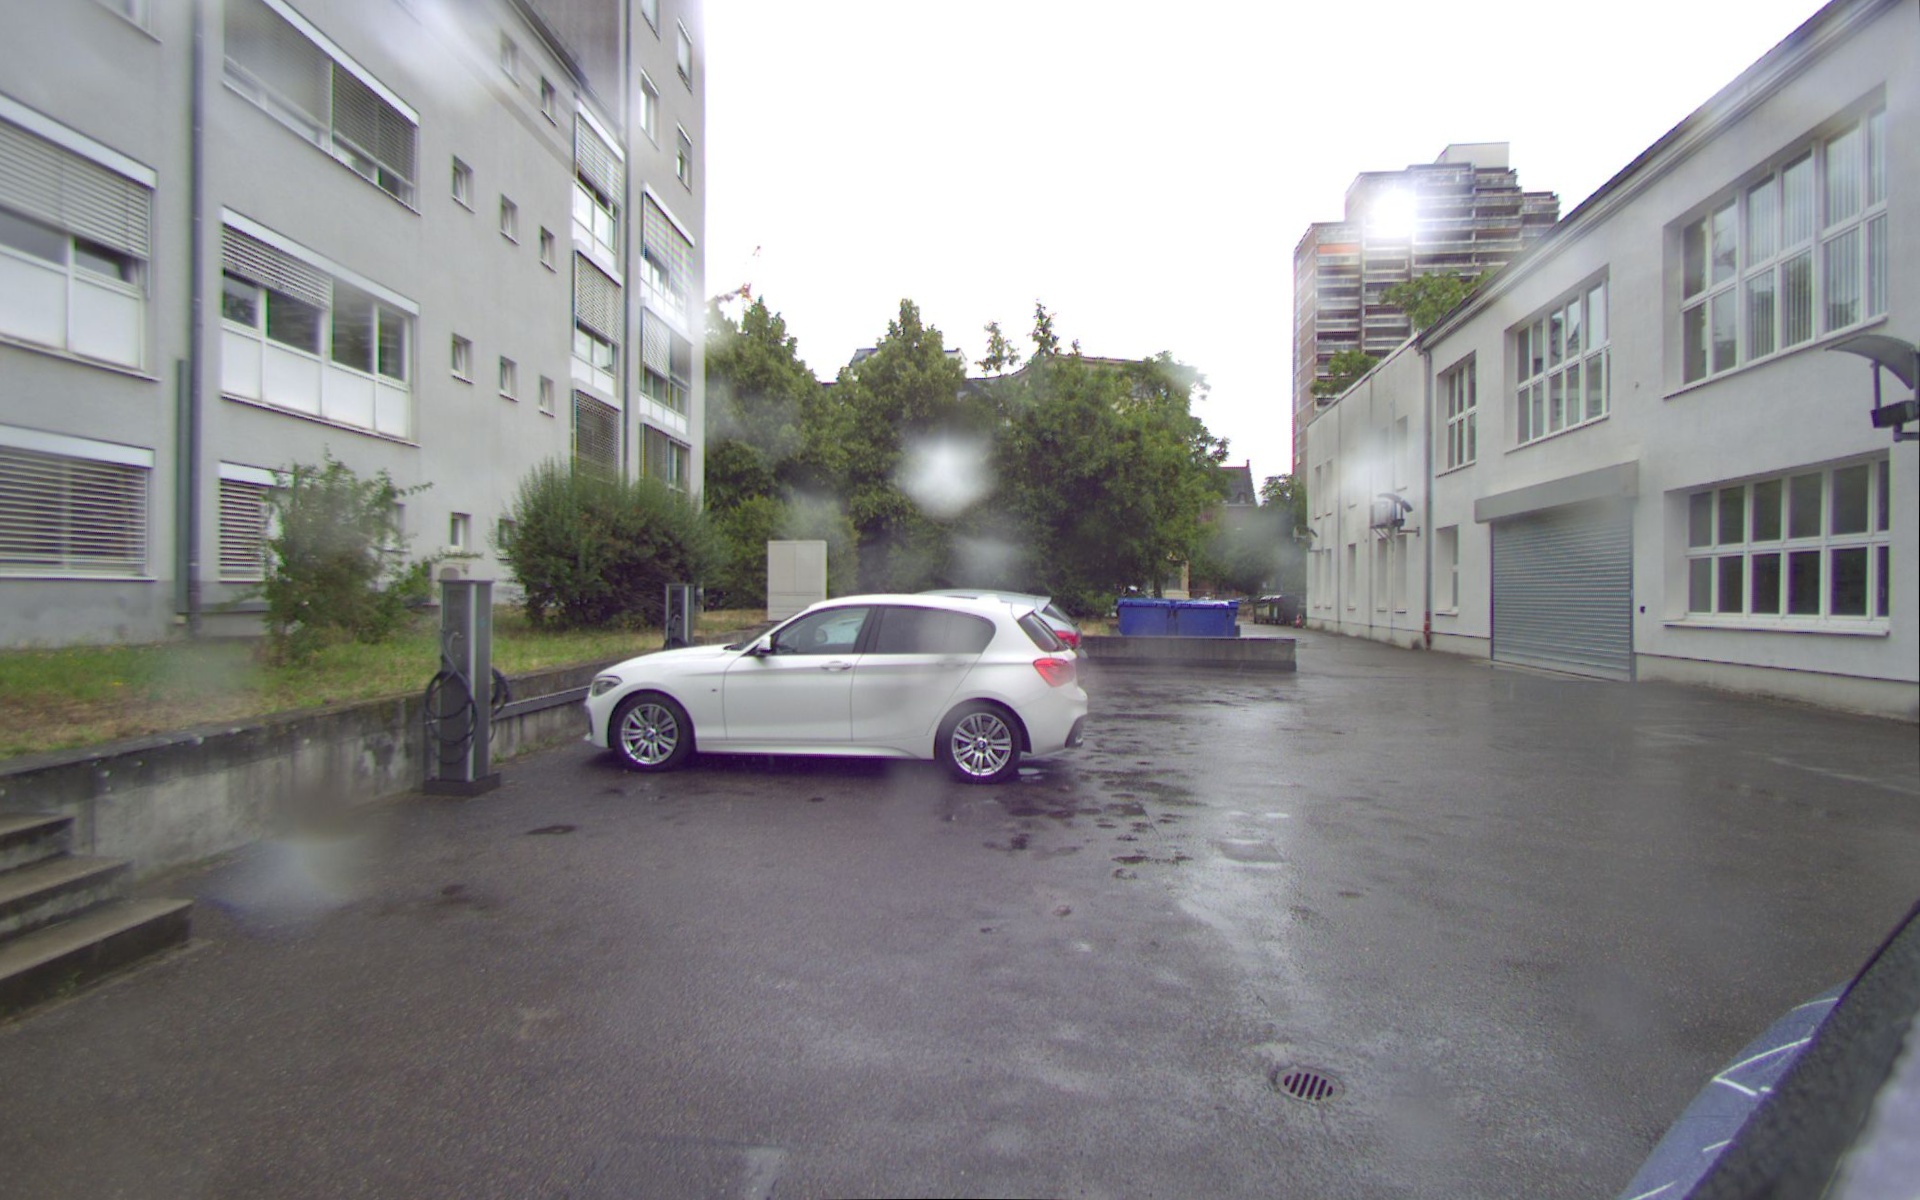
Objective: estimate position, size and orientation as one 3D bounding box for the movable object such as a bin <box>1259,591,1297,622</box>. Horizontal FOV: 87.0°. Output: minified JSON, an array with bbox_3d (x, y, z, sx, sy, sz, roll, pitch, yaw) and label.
[{"bbox_3d":[15.517,0.309,49.439,1.465,1.467,1.312,-1,-2,3],"label":"movable object such as a bin"}]

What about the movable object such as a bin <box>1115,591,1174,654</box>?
[{"bbox_3d":[4.226,0.528,23.323,1.212,1.375,1.966,-1,-2,7],"label":"movable object such as a bin"}]

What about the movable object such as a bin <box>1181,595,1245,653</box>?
[{"bbox_3d":[6.206,0.598,24.963,1.291,1.375,1.900,-1,-2,8],"label":"movable object such as a bin"}]

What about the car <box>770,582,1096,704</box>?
[{"bbox_3d":[-0.297,0.538,13.820,4.146,1.508,1.997,0,0,5],"label":"car"}]

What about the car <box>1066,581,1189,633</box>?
[{"bbox_3d":[6.582,0.310,39.878,4.622,1.906,2.116,-1,-3,10],"label":"car"}]

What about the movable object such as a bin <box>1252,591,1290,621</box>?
[{"bbox_3d":[15.598,0.315,50.784,1.465,1.467,1.312,-1,-2,3],"label":"movable object such as a bin"}]

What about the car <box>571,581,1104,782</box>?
[{"bbox_3d":[-0.918,0.613,8.776,4.146,1.508,1.997,0,0,5],"label":"car"}]

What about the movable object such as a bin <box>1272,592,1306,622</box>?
[{"bbox_3d":[15.535,0.337,47.855,1.166,1.392,1.312,-1,-2,3],"label":"movable object such as a bin"}]

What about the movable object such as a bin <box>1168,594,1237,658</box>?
[{"bbox_3d":[5.512,0.599,23.134,1.291,1.375,1.900,-1,-2,8],"label":"movable object such as a bin"}]

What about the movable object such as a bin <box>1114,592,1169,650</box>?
[{"bbox_3d":[4.511,0.533,25.297,1.212,1.375,1.966,-1,-2,7],"label":"movable object such as a bin"}]
